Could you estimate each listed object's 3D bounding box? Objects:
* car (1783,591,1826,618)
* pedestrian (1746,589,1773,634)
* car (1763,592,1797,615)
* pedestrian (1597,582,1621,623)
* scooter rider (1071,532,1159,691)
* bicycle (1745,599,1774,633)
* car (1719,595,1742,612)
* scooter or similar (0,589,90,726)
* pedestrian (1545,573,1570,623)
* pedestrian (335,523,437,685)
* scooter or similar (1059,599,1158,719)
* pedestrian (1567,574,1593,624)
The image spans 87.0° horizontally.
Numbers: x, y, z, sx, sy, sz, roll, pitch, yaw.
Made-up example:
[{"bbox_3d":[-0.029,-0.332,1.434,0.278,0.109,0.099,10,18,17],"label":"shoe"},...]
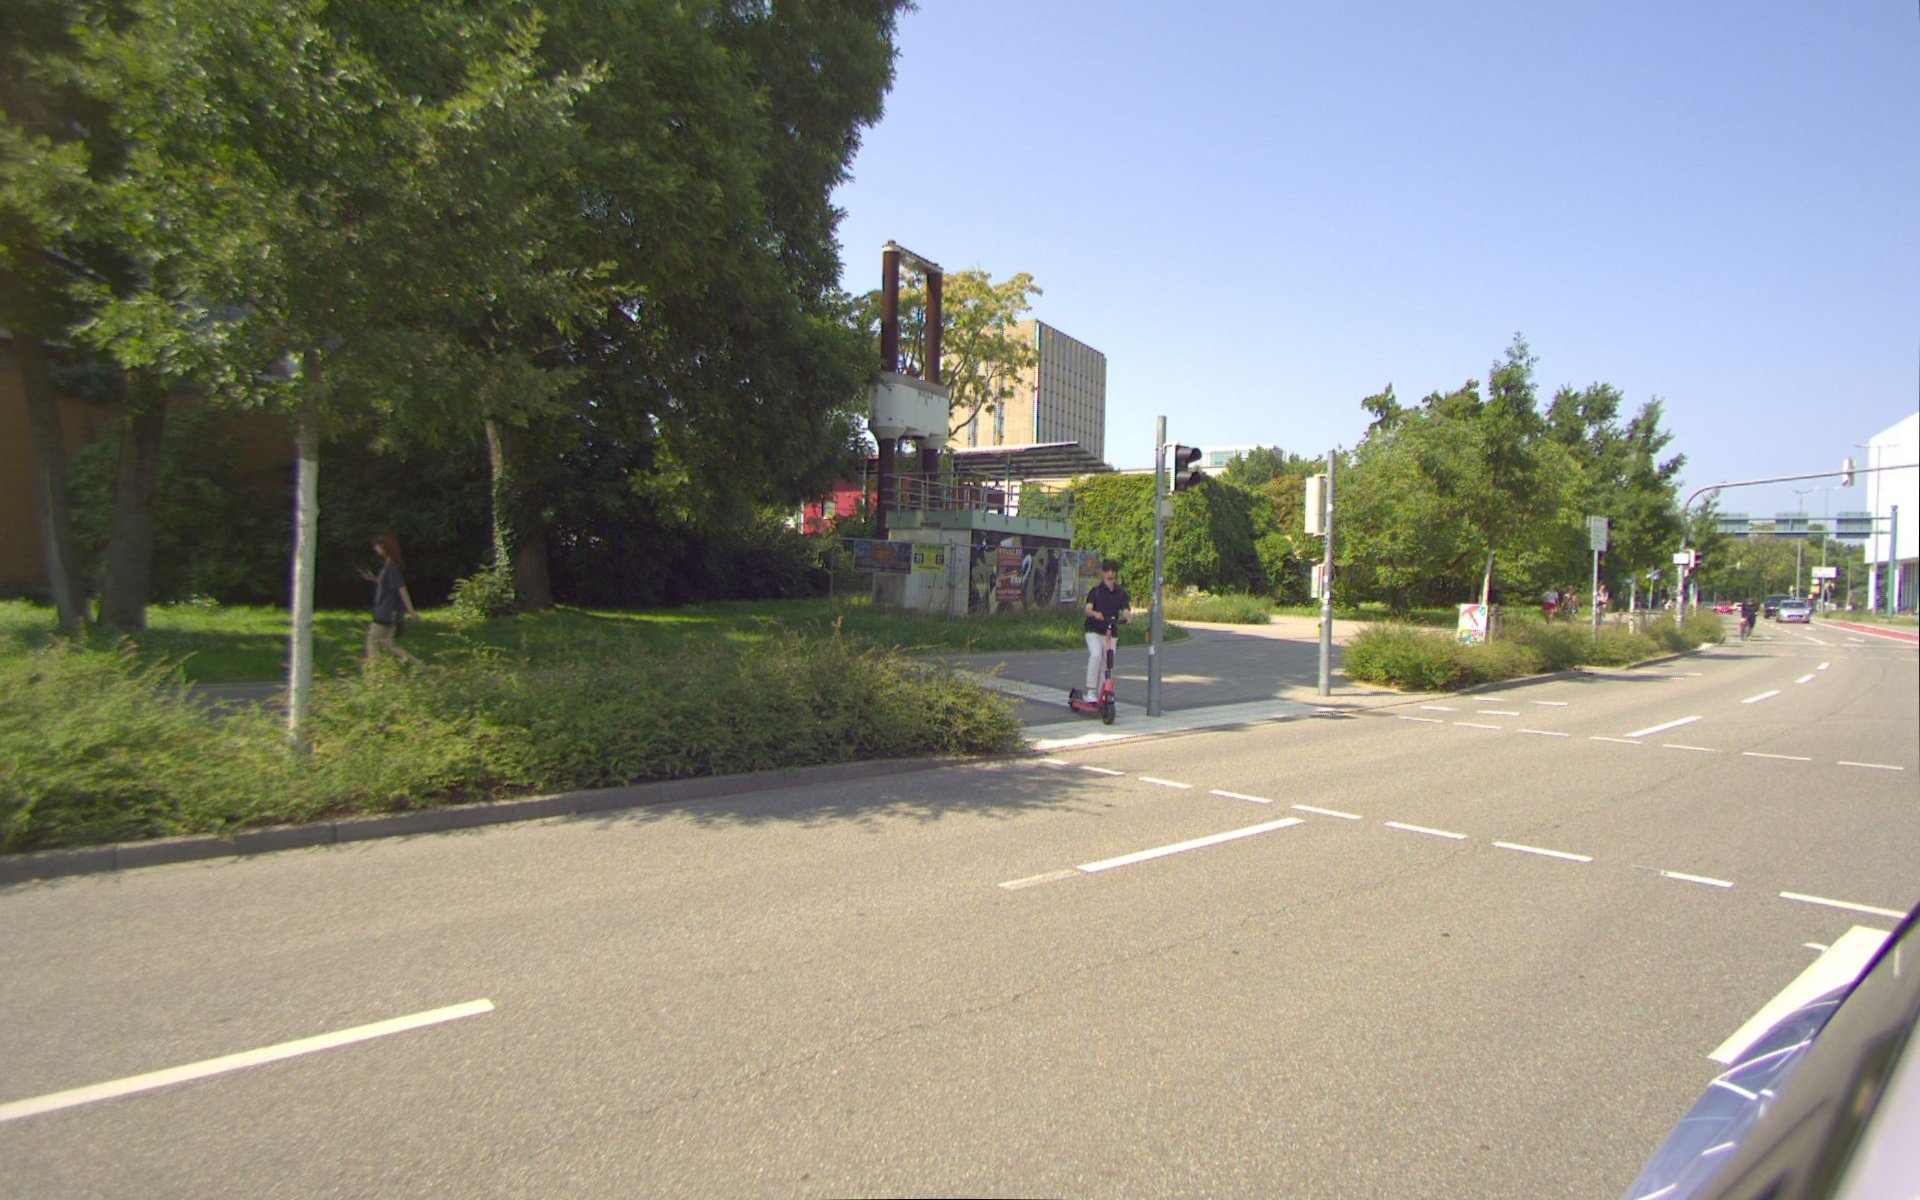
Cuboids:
[{"bbox_3d":[57.913,0.291,69.468,1.989,1.699,3.947,2,1,37],"label":"car"},{"bbox_3d":[30.647,0.417,38.803,0.776,1.690,0.541,2,1,38],"label":"pedestrian"},{"bbox_3d":[67.849,0.253,83.750,1.989,1.801,3.947,2,1,37],"label":"car"},{"bbox_3d":[28.810,0.090,44.943,0.789,1.790,0.815,2,1,38],"label":"pedestrian"},{"bbox_3d":[1.773,0.112,11.669,0.674,1.761,0.807,1,2,-16],"label":"scooter rider"},{"bbox_3d":[30.693,0.609,38.871,0.782,1.227,1.765,2,2,37],"label":"bicycle"},{"bbox_3d":[89.954,0.389,118.173,1.989,1.801,3.947,2,1,37],"label":"car"},{"bbox_3d":[-8.322,0.449,8.107,1.963,1.073,0.559,1,2,-29],"label":"scooter or similar"},{"bbox_3d":[22.086,-0.088,37.427,0.690,1.793,0.579,2,1,38],"label":"pedestrian"},{"bbox_3d":[-6.440,0.023,11.343,0.863,1.725,0.707,0,3,-40],"label":"pedestrian"},{"bbox_3d":[1.689,0.646,11.720,0.573,1.249,1.371,1,2,-16],"label":"scooter or similar"},{"bbox_3d":[22.706,-0.058,37.064,0.690,1.793,0.579,2,1,38],"label":"pedestrian"}]
